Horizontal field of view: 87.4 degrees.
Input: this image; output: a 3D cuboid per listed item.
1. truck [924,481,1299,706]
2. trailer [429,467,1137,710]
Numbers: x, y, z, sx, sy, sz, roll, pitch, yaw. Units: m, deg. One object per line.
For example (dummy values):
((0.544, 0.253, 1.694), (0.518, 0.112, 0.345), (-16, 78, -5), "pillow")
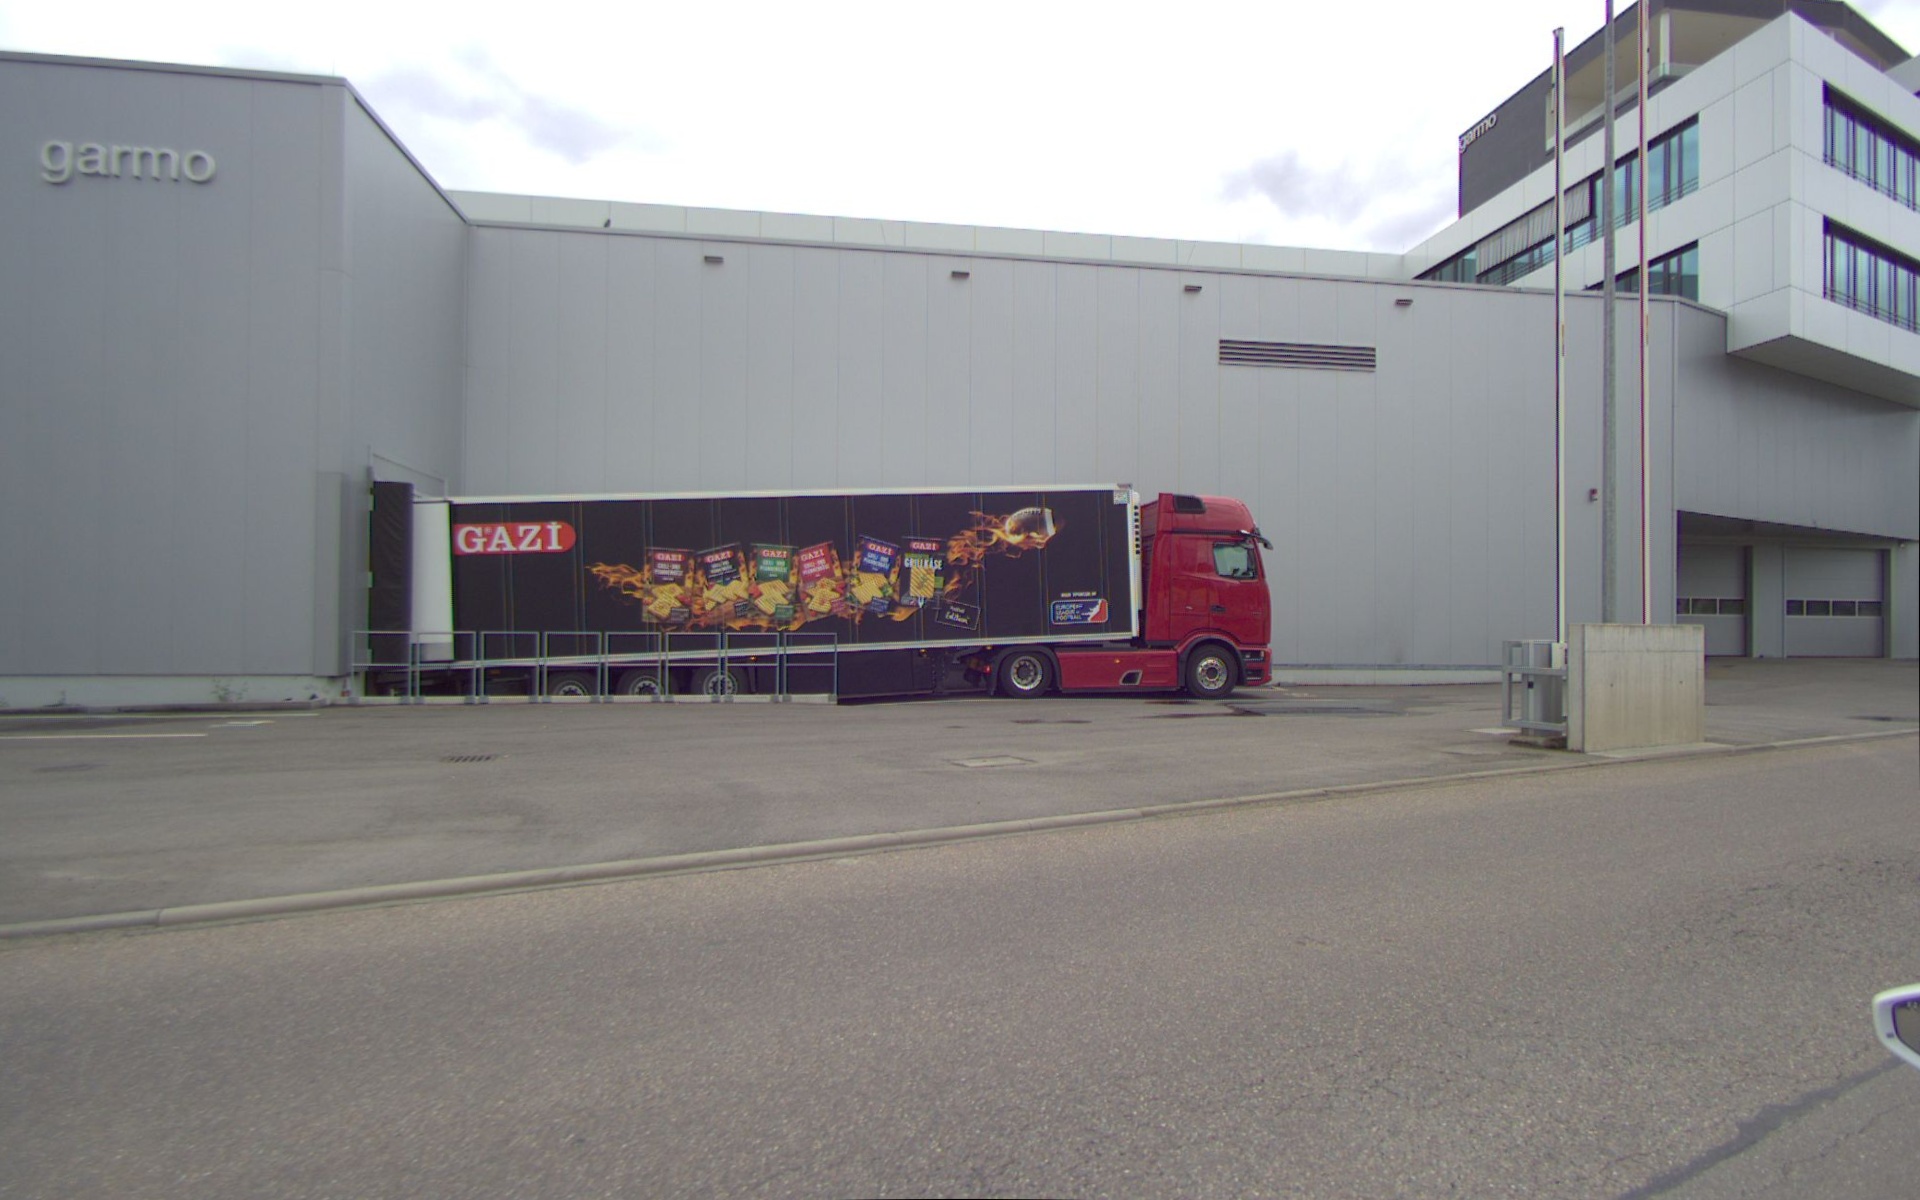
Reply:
((2.886, -0.087, 20.168), (6.963, 4.084, 2.747), (0, 0, -9), "truck")
((-3.007, -0.140, 19.252), (12.387, 4.084, 2.747), (0, 0, -9), "trailer")
